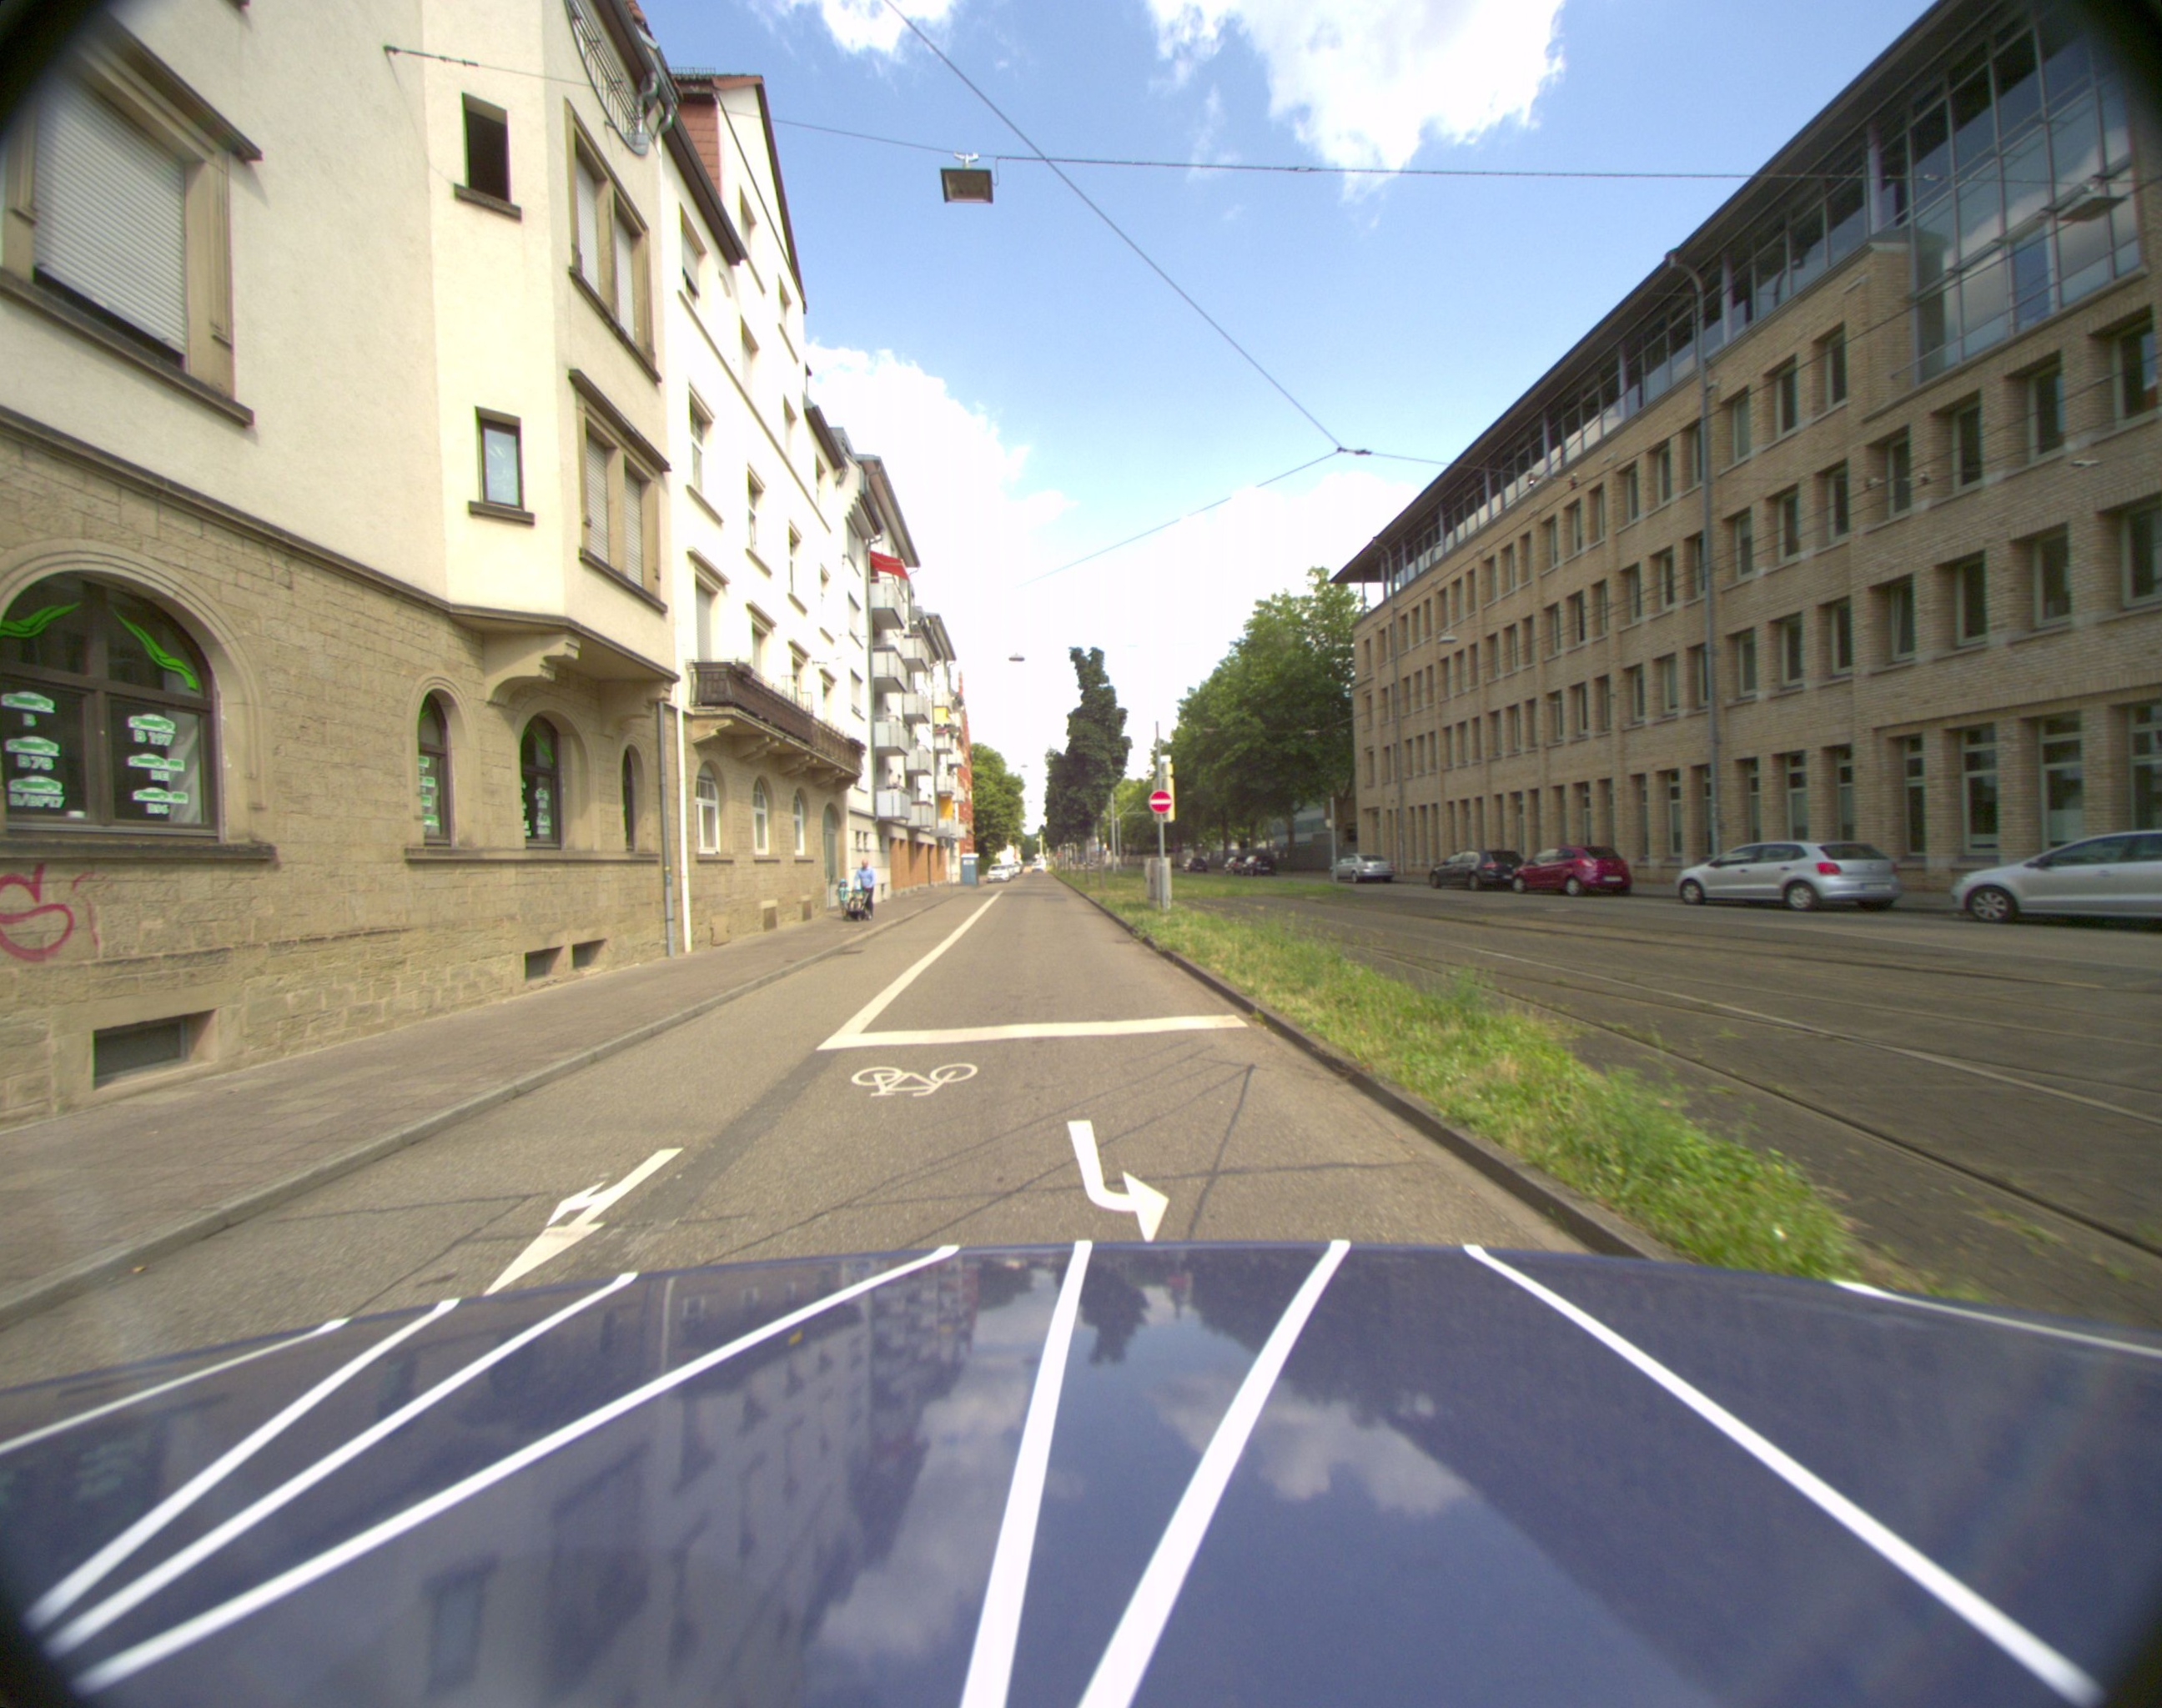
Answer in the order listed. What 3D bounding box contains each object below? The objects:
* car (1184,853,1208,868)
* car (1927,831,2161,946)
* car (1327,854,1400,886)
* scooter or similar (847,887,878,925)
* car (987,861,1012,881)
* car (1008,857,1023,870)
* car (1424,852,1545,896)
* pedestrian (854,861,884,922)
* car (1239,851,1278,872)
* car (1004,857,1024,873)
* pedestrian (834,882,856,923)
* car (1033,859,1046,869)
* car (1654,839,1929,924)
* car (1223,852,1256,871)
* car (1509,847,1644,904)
[{"bbox_3d":[11.446,0.655,75.889,1.601,1.455,3.999,-2,0,-1],"label":"car"},{"bbox_3d":[15.328,0.444,10.852,1.938,1.521,4.013,-2,0,-2],"label":"car"},{"bbox_3d":[13.697,0.745,37.114,1.720,1.388,4.484,-2,0,-2],"label":"car"},{"bbox_3d":[-6.203,1.468,21.582,0.594,0.996,0.905,2,0,-2],"label":"scooter or similar"},{"bbox_3d":[-6.815,1.369,63.530,1.801,1.521,4.040,-3,0,-3],"label":"car"},{"bbox_3d":[-8.724,1.227,101.466,1.801,1.521,4.040,-4,0,-3],"label":"car"},{"bbox_3d":[14.275,0.677,27.165,1.938,1.388,4.238,-2,0,-2],"label":"car"},{"bbox_3d":[-6.254,1.096,22.419,0.622,1.728,0.877,2,0,-2],"label":"pedestrian"},{"bbox_3d":[12.731,0.538,54.631,1.807,1.444,4.000,-2,0,0],"label":"car"},{"bbox_3d":[-6.973,1.120,79.427,1.801,1.521,4.040,-3,0,-3],"label":"car"},{"bbox_3d":[-6.836,1.396,22.053,0.457,1.128,0.494,-2,0,-2],"label":"pedestrian"},{"bbox_3d":[-6.484,1.546,118.804,1.801,1.521,4.040,-3,0,-3],"label":"car"},{"bbox_3d":[14.855,0.525,16.289,1.856,1.521,4.209,-2,0,-2],"label":"car"},{"bbox_3d":[12.470,0.564,60.107,1.559,1.417,3.901,-2,0,-3],"label":"car"},{"bbox_3d":[14.589,0.604,22.604,1.587,1.521,3.549,-2,0,-2],"label":"car"}]
